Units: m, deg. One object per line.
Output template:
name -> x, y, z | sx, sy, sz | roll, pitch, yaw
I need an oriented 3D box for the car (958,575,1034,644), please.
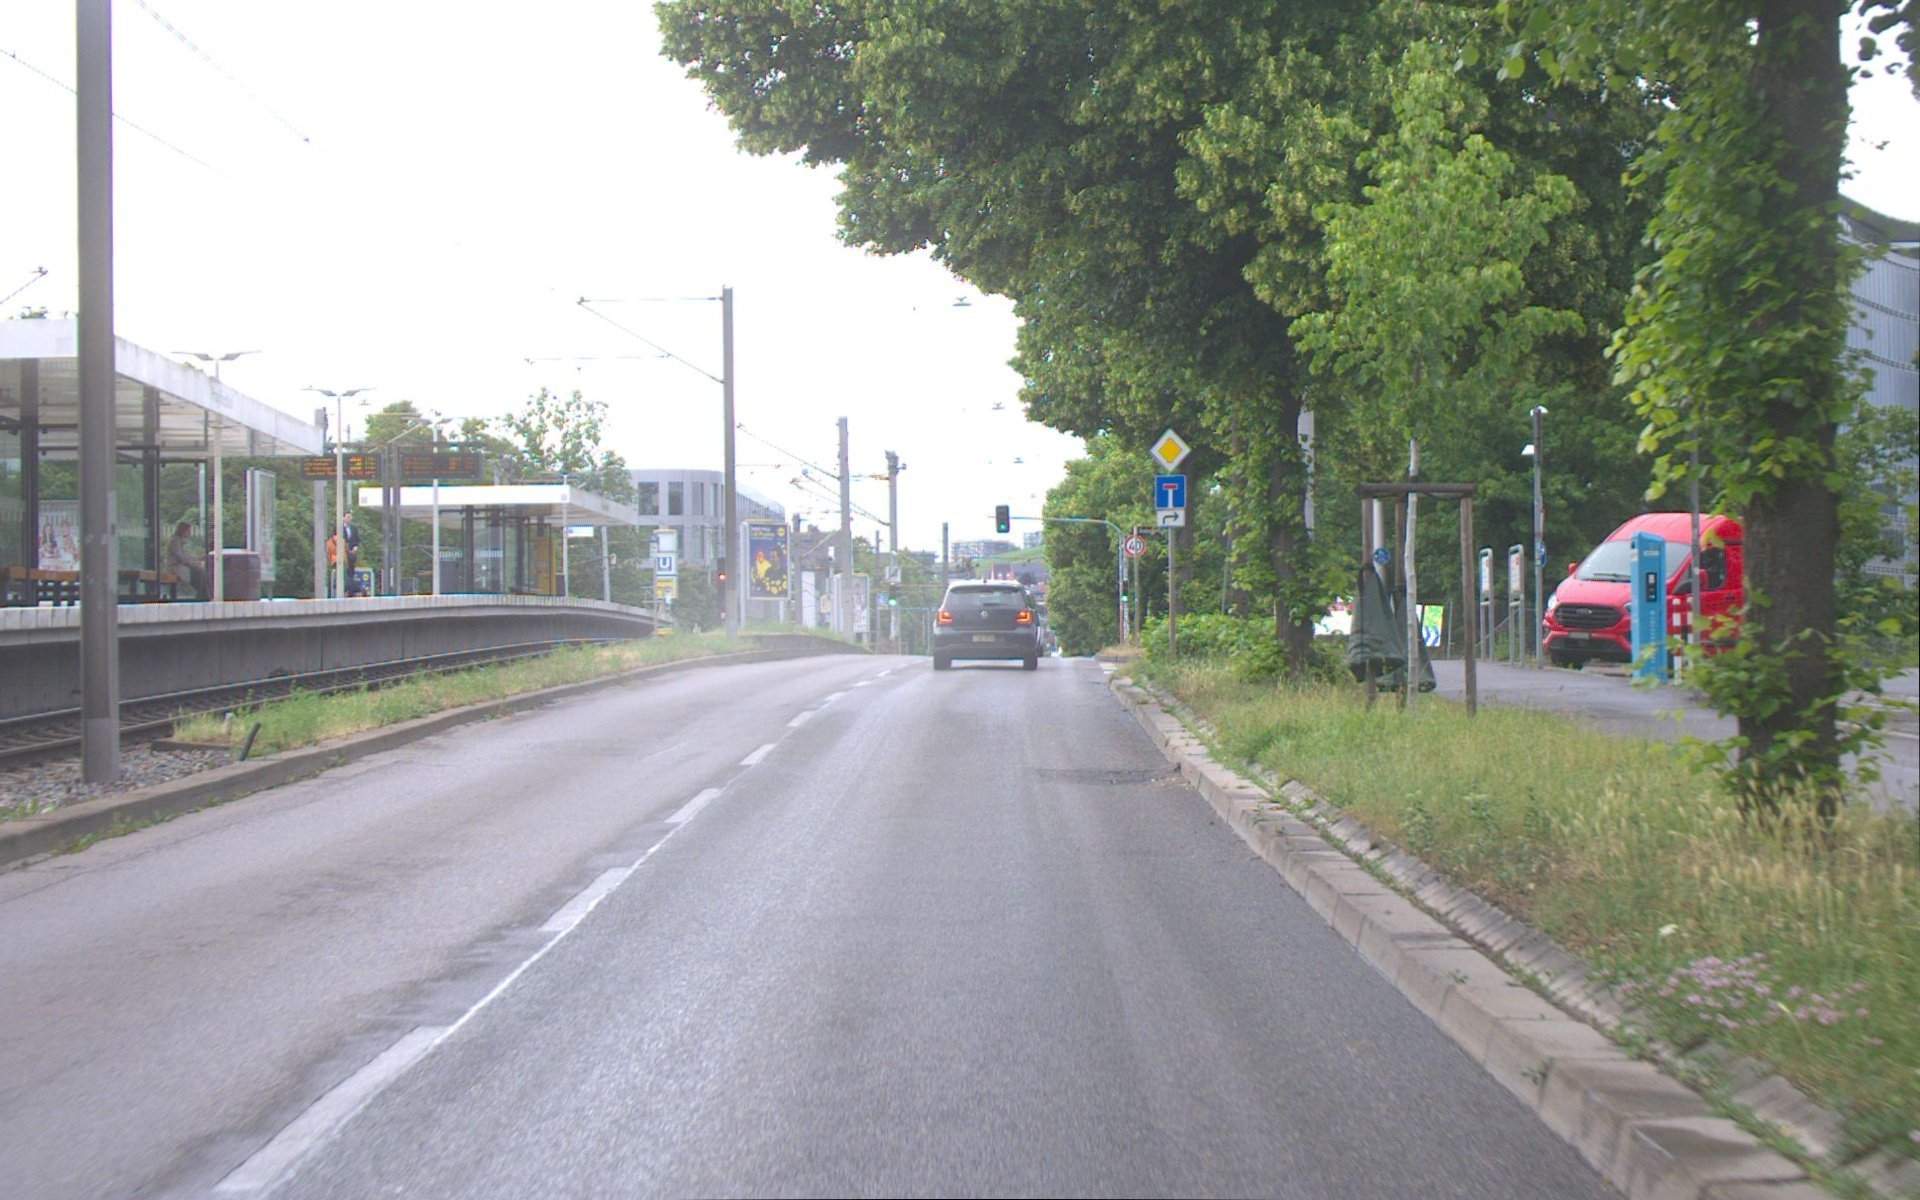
car -> 0.824, 0.202, 78.416 | 1.687, 1.512, 4.000 | 0, 1, 1

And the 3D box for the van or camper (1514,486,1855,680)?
van or camper -> 10.285, -0.204, 48.523 | 2.040, 2.398, 5.377 | 4, 1, 44

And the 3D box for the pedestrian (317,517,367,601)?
pedestrian -> -12.421, -0.827, 69.065 | 0.794, 1.641, 0.919 | 1, 2, -20

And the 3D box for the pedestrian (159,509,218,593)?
pedestrian -> -11.390, -0.723, 50.781 | 0.710, 1.221, 0.619 | 0, 0, 1

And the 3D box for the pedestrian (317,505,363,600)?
pedestrian -> -12.624, -0.972, 69.985 | 0.743, 1.903, 0.842 | 1, 1, -20

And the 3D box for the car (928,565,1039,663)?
car -> 0.396, 0.201, 55.901 | 1.727, 1.535, 4.000 | 0, 1, 1
